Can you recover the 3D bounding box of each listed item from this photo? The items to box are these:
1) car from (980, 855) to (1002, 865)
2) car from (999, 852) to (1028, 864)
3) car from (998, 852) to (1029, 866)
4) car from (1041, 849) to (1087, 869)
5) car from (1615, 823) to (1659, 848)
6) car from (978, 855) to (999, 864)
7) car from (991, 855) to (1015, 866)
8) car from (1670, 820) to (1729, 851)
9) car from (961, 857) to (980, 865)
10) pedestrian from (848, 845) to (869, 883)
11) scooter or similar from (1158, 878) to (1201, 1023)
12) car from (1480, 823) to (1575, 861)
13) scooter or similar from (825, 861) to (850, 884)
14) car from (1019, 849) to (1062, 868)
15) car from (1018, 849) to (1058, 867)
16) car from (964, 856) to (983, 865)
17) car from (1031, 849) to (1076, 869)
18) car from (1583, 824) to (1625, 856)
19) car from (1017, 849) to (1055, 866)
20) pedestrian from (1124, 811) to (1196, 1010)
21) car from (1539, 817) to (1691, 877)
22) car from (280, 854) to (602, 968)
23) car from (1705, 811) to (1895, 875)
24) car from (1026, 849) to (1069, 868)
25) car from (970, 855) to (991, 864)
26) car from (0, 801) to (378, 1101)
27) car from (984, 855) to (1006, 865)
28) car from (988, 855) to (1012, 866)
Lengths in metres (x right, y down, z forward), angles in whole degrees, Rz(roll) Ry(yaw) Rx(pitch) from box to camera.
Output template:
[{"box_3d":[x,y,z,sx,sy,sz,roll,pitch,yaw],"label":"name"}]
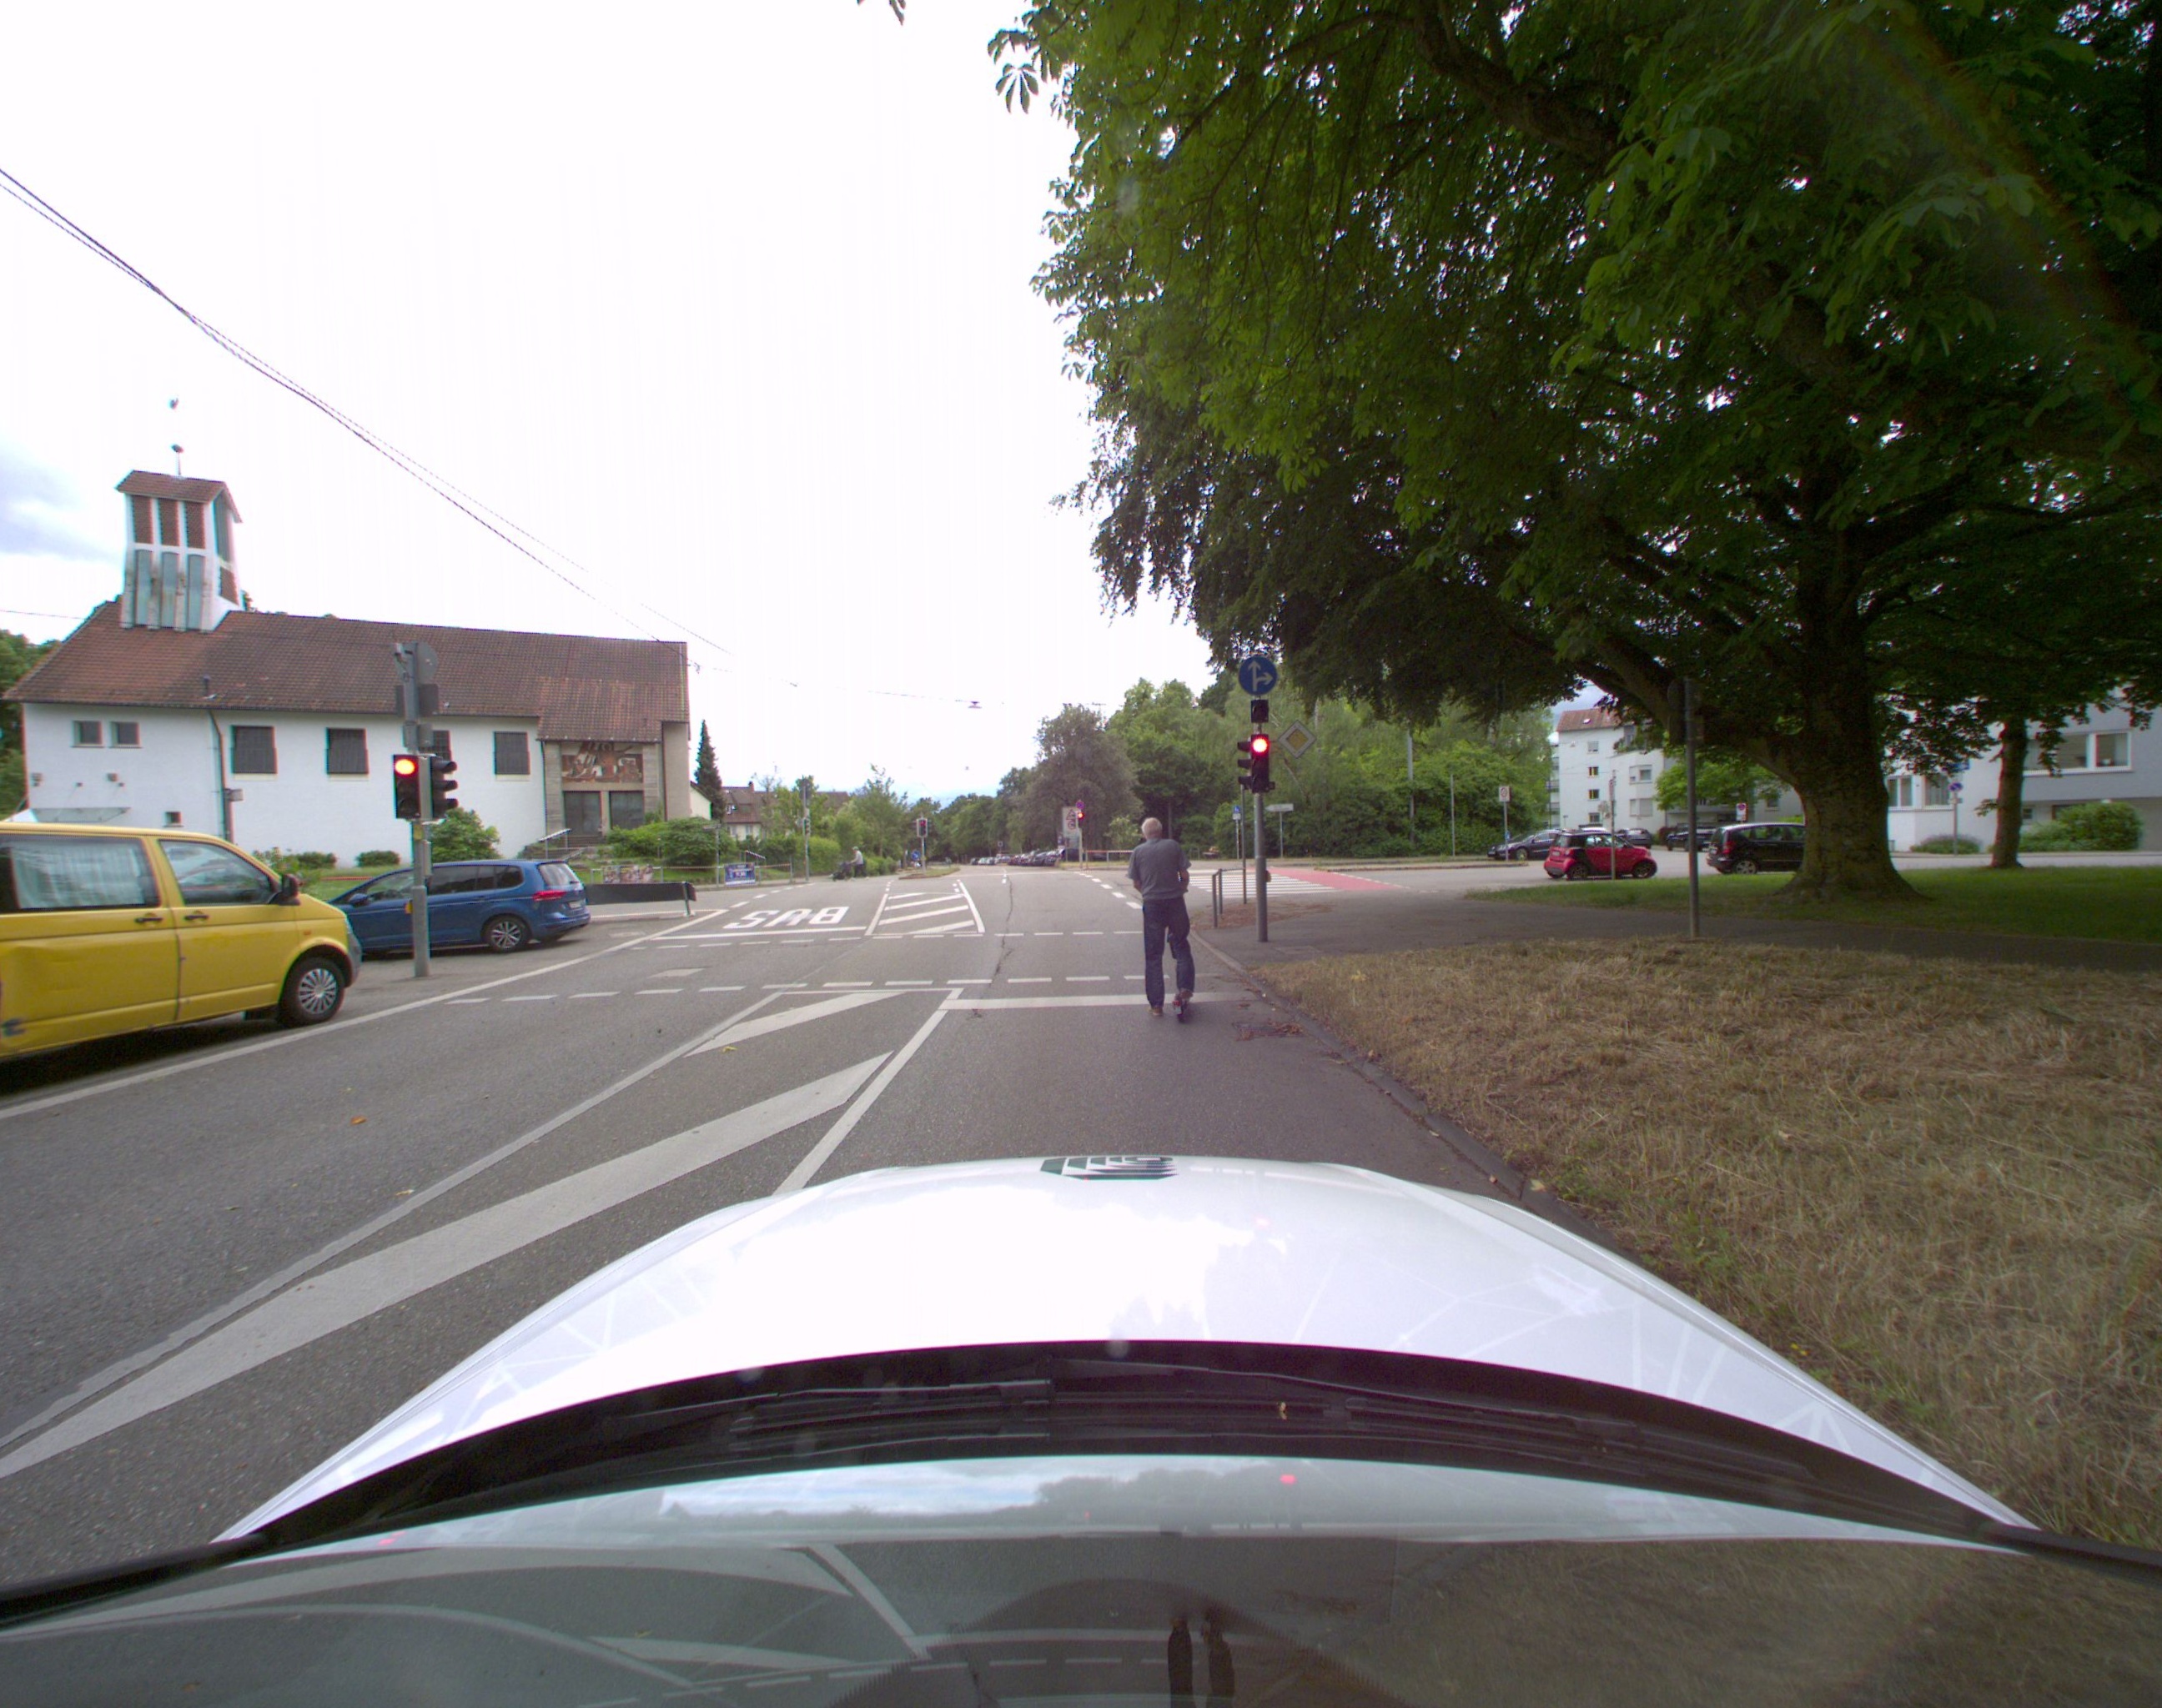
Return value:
[{"box_3d":[-17.321,1.122,156.857,3.856,1.610,1.716,-3,0,-21],"label":"car"},{"box_3d":[-10.123,0.624,122.352,3.856,1.610,1.716,-3,0,-21],"label":"car"},{"box_3d":[-9.050,0.672,109.348,3.856,1.610,1.716,-3,0,-21],"label":"car"},{"box_3d":[-1.580,0.428,75.008,3.854,1.610,1.717,-3,0,-19],"label":"car"},{"box_3d":[38.955,-1.286,57.134,1.707,1.610,3.875,-3,1,22],"label":"car"},{"box_3d":[-18.093,1.126,159.311,3.856,1.610,1.716,-3,0,-21],"label":"car"},{"box_3d":[-13.388,1.123,139.637,3.856,1.610,1.716,-3,0,-21],"label":"car"},{"box_3d":[35.568,-1.078,46.923,1.707,1.610,3.875,-3,1,22],"label":"car"},{"box_3d":[-24.228,1.524,178.805,3.856,1.610,1.716,-3,0,-21],"label":"car"},{"box_3d":[-11.169,0.500,40.920,0.888,1.862,0.570,-2,0,-23],"label":"pedestrian"},{"box_3d":[0.917,0.839,7.491,0.280,1.178,1.180,-2,0,10],"label":"scooter or similar"},{"box_3d":[21.110,-0.567,38.599,3.498,1.530,1.732,-3,0,8],"label":"car"},{"box_3d":[-12.110,0.915,40.549,1.112,1.081,0.573,-2,0,-22],"label":"scooter or similar"},{"box_3d":[-4.048,0.441,81.619,3.856,1.610,1.716,-3,0,-21],"label":"car"},{"box_3d":[-4.599,0.417,86.950,3.856,1.610,1.716,-3,0,-21],"label":"car"},{"box_3d":[-23.315,1.433,176.444,3.856,1.610,1.716,-3,0,-21],"label":"car"},{"box_3d":[-2.590,0.455,77.004,3.857,1.610,1.715,-3,1,-22],"label":"car"},{"box_3d":[28.785,-0.796,44.890,1.706,1.610,3.878,-3,1,30],"label":"car"},{"box_3d":[-4.931,0.423,89.372,3.856,1.610,1.716,-3,0,-21],"label":"car"},{"box_3d":[0.753,0.519,7.672,0.569,1.813,0.421,-2,0,10],"label":"pedestrian"},{"box_3d":[16.524,-0.213,25.355,3.499,1.610,1.732,-3,0,7],"label":"car"},{"box_3d":[-11.066,0.915,14.423,3.992,1.610,1.810,-3,0,-14],"label":"car"},{"box_3d":[20.831,-0.301,23.798,3.805,1.610,1.739,-3,1,27],"label":"car"},{"box_3d":[-3.277,0.465,79.564,3.856,1.610,1.716,-3,0,-21],"label":"car"},{"box_3d":[-20.497,1.140,166.577,3.856,1.610,1.716,-3,0,-21],"label":"car"},{"box_3d":[-8.301,0.682,6.337,1.880,2.013,4.558,-2,0,-5],"label":"car"},{"box_3d":[-16.343,1.159,154.699,3.856,1.610,1.716,-3,0,-21],"label":"car"},{"box_3d":[-14.327,1.131,143.337,3.856,1.610,1.716,-3,0,-21],"label":"car"}]
